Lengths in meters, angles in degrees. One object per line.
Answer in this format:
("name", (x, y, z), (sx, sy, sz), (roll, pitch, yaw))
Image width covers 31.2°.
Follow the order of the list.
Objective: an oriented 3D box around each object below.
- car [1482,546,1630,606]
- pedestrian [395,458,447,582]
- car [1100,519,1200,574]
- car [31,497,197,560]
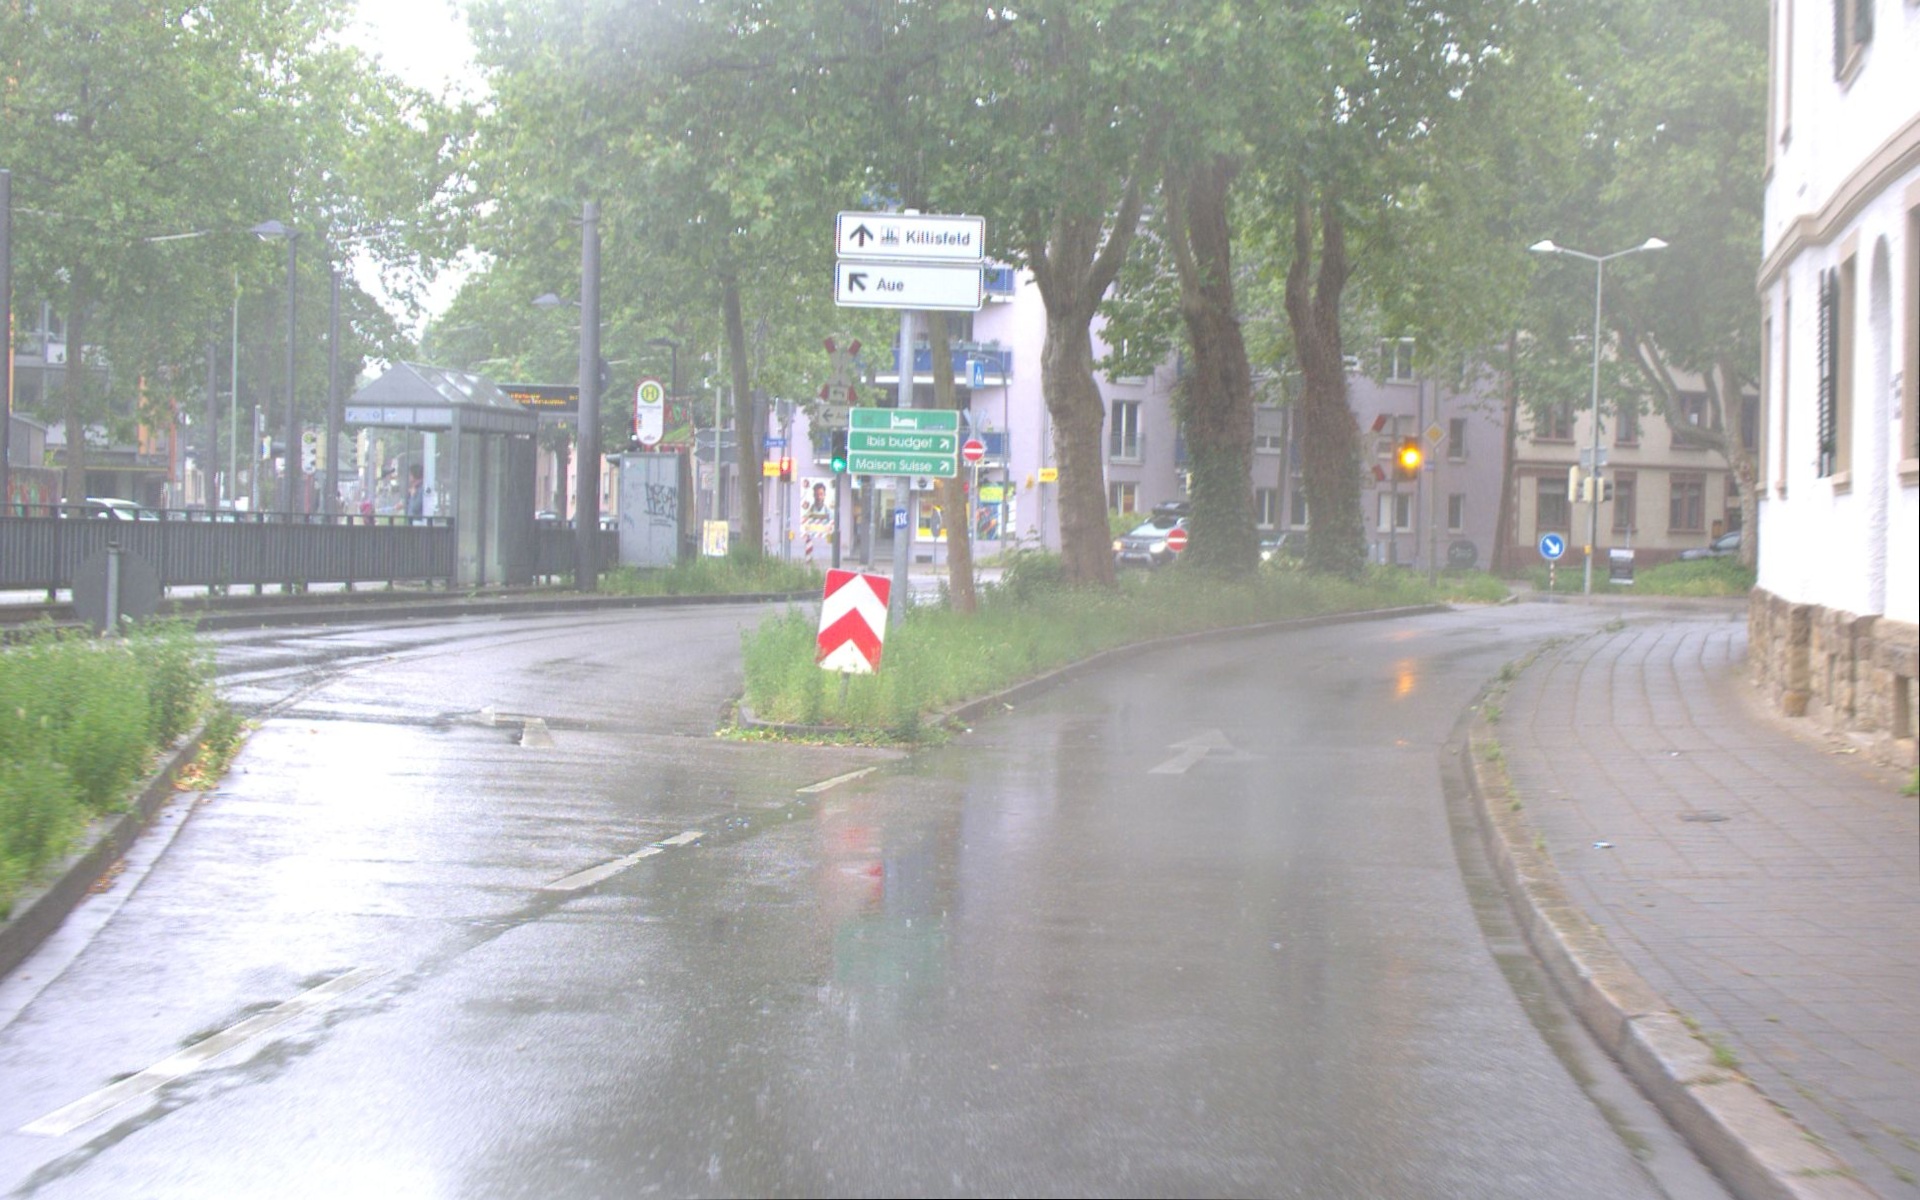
("car", (15.467, -0.637, 89.227), (3.484, 1.518, 1.518), (1, 1, 27))
("pedestrian", (-7.537, -1.113, 48.055), (0.581, 1.725, 0.568), (0, 1, -24))
("car", (5.462, -1.540, 98.602), (1.727, 1.547, 3.555), (0, 1, 24))
("car", (-22.341, -1.880, 90.742), (4.013, 1.646, 1.969), (1, 1, 30))
